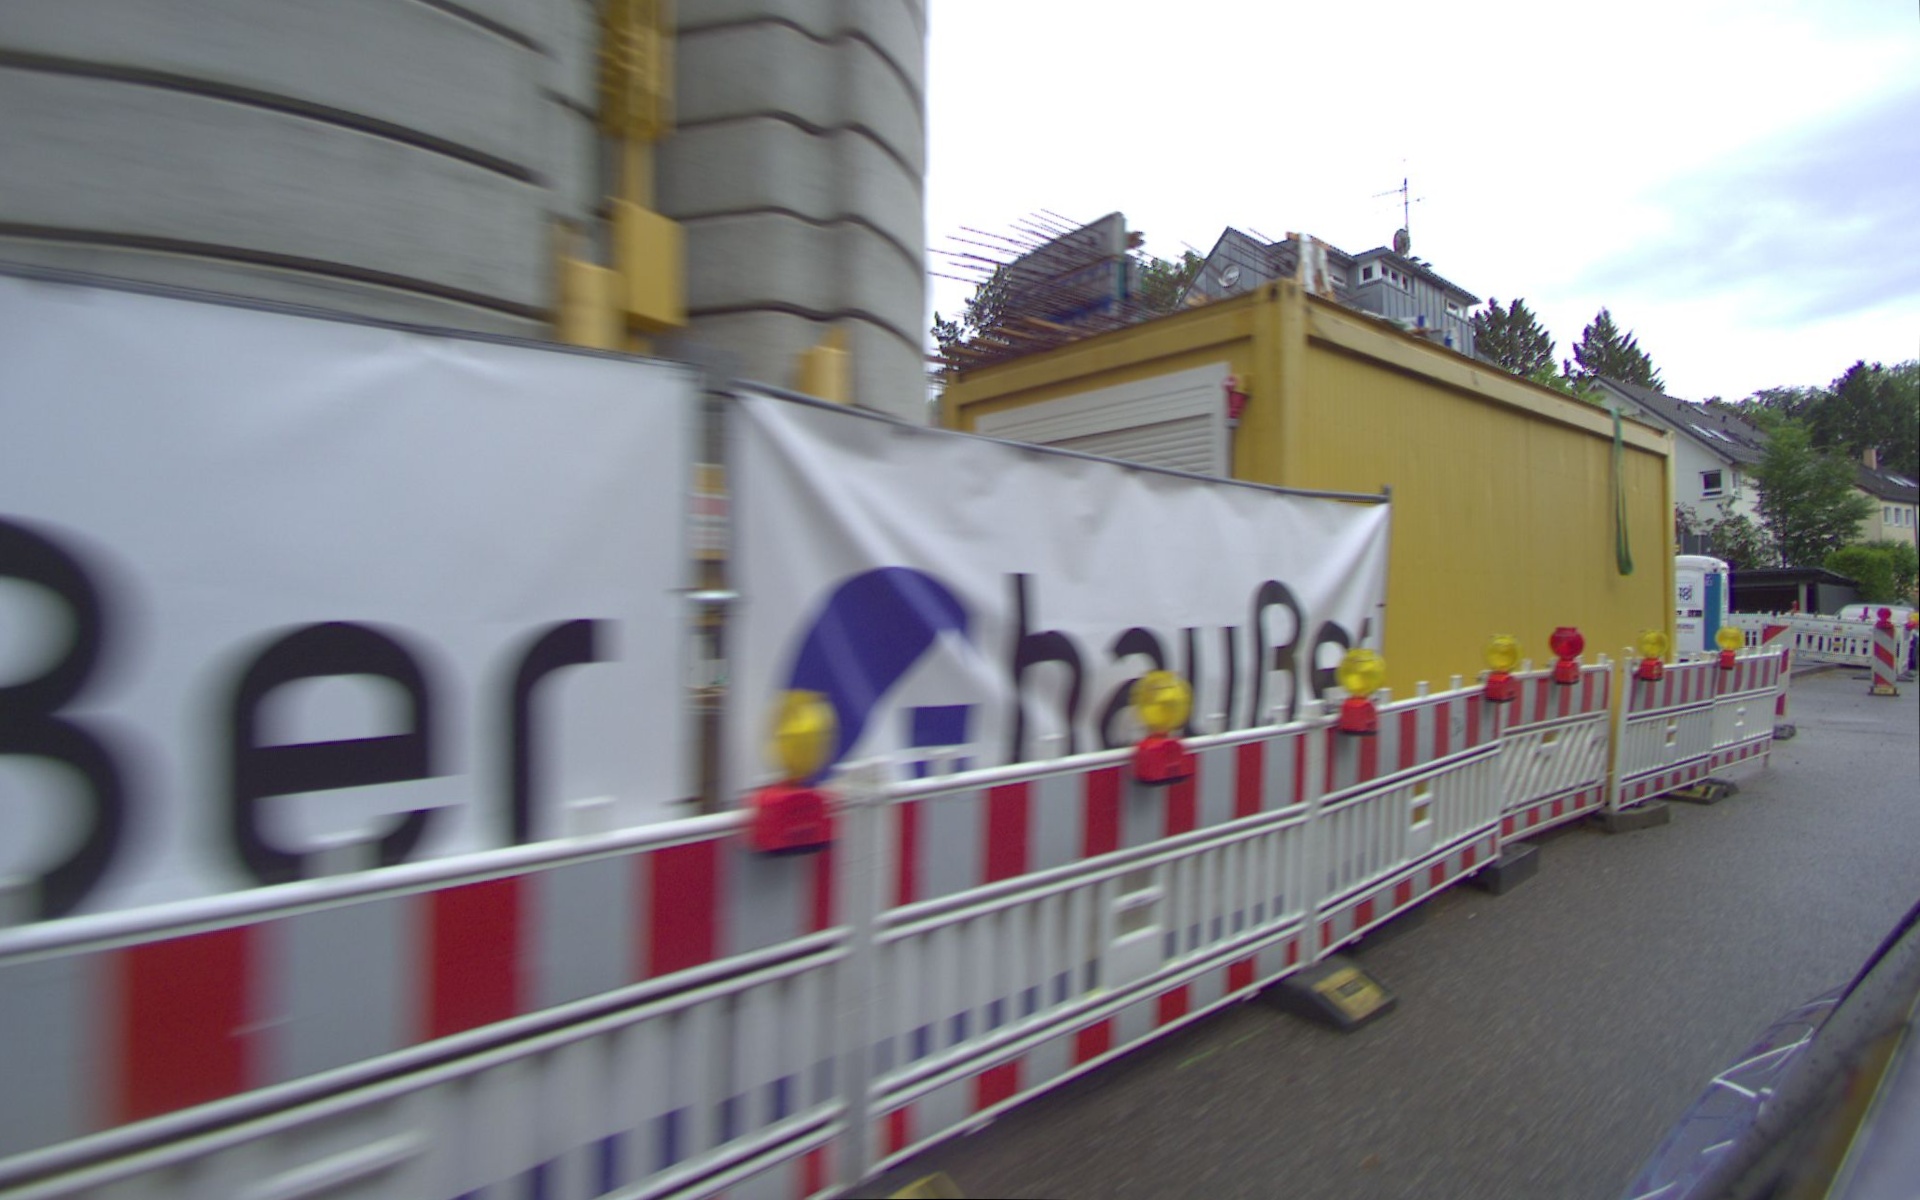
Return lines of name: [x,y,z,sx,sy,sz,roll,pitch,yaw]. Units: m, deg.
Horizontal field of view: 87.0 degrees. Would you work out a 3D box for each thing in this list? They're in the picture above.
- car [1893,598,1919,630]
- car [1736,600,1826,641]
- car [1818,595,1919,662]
car: [51.191,0.627,51.992,1.953,1.617,4.341,0,-4,-33]
car: [30.148,0.741,37.134,3.928,1.415,1.738,0,-3,-39]
car: [21.803,0.606,23.697,4.753,1.440,1.935,0,0,-41]
